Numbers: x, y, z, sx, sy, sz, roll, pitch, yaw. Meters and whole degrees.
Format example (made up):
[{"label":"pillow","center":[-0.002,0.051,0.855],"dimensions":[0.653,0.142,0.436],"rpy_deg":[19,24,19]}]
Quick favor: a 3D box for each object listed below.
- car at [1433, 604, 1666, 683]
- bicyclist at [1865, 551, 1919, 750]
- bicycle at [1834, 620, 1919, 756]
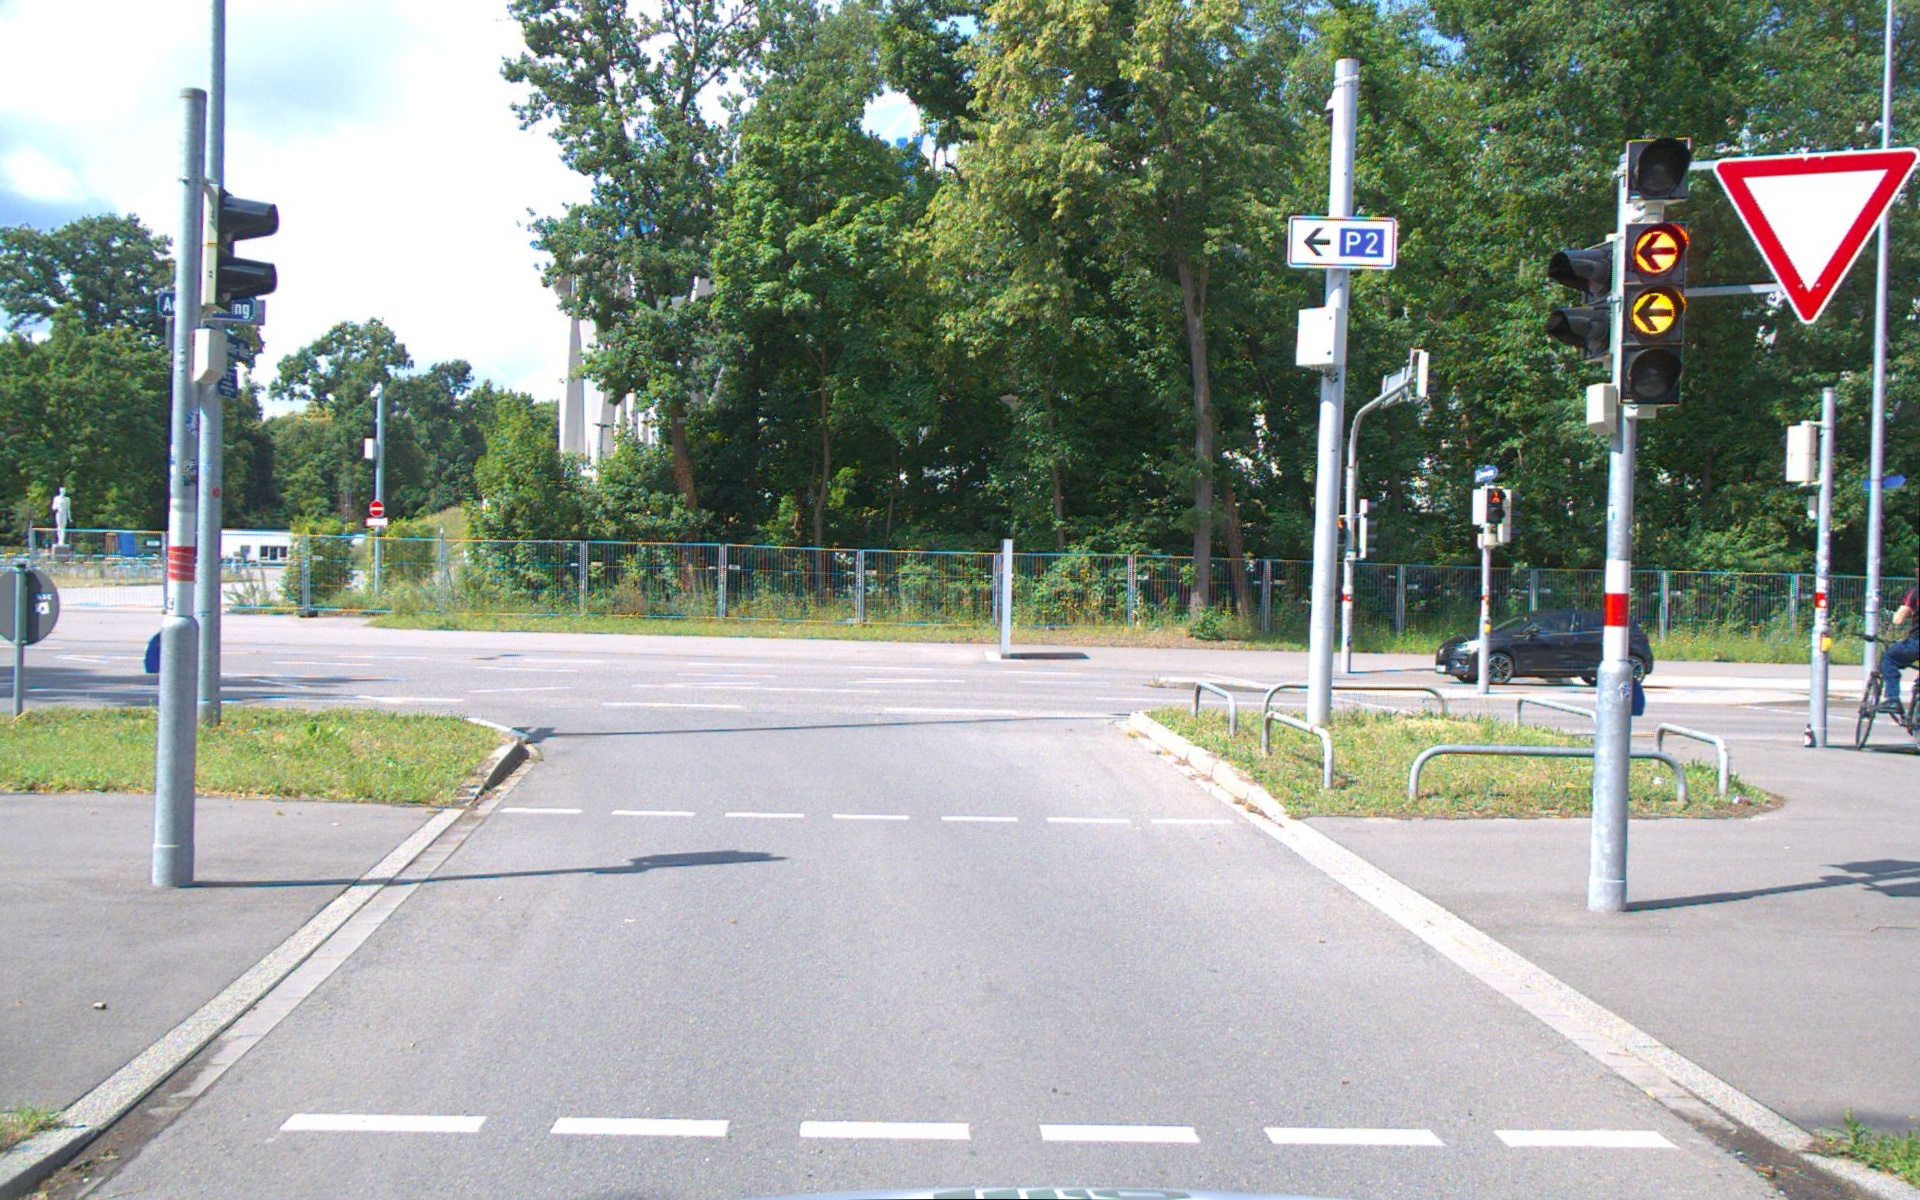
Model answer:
[{"label":"car","center":[11.235,0.819,31.649],"dimensions":[3.882,1.402,1.602],"rpy_deg":[1,0,-1]},{"label":"bicyclist","center":[9.221,0.470,15.614],"dimensions":[0.866,1.829,0.979],"rpy_deg":[1,-1,7]},{"label":"bicycle","center":[9.236,0.814,15.909],"dimensions":[0.861,1.227,1.899],"rpy_deg":[1,0,8]}]
